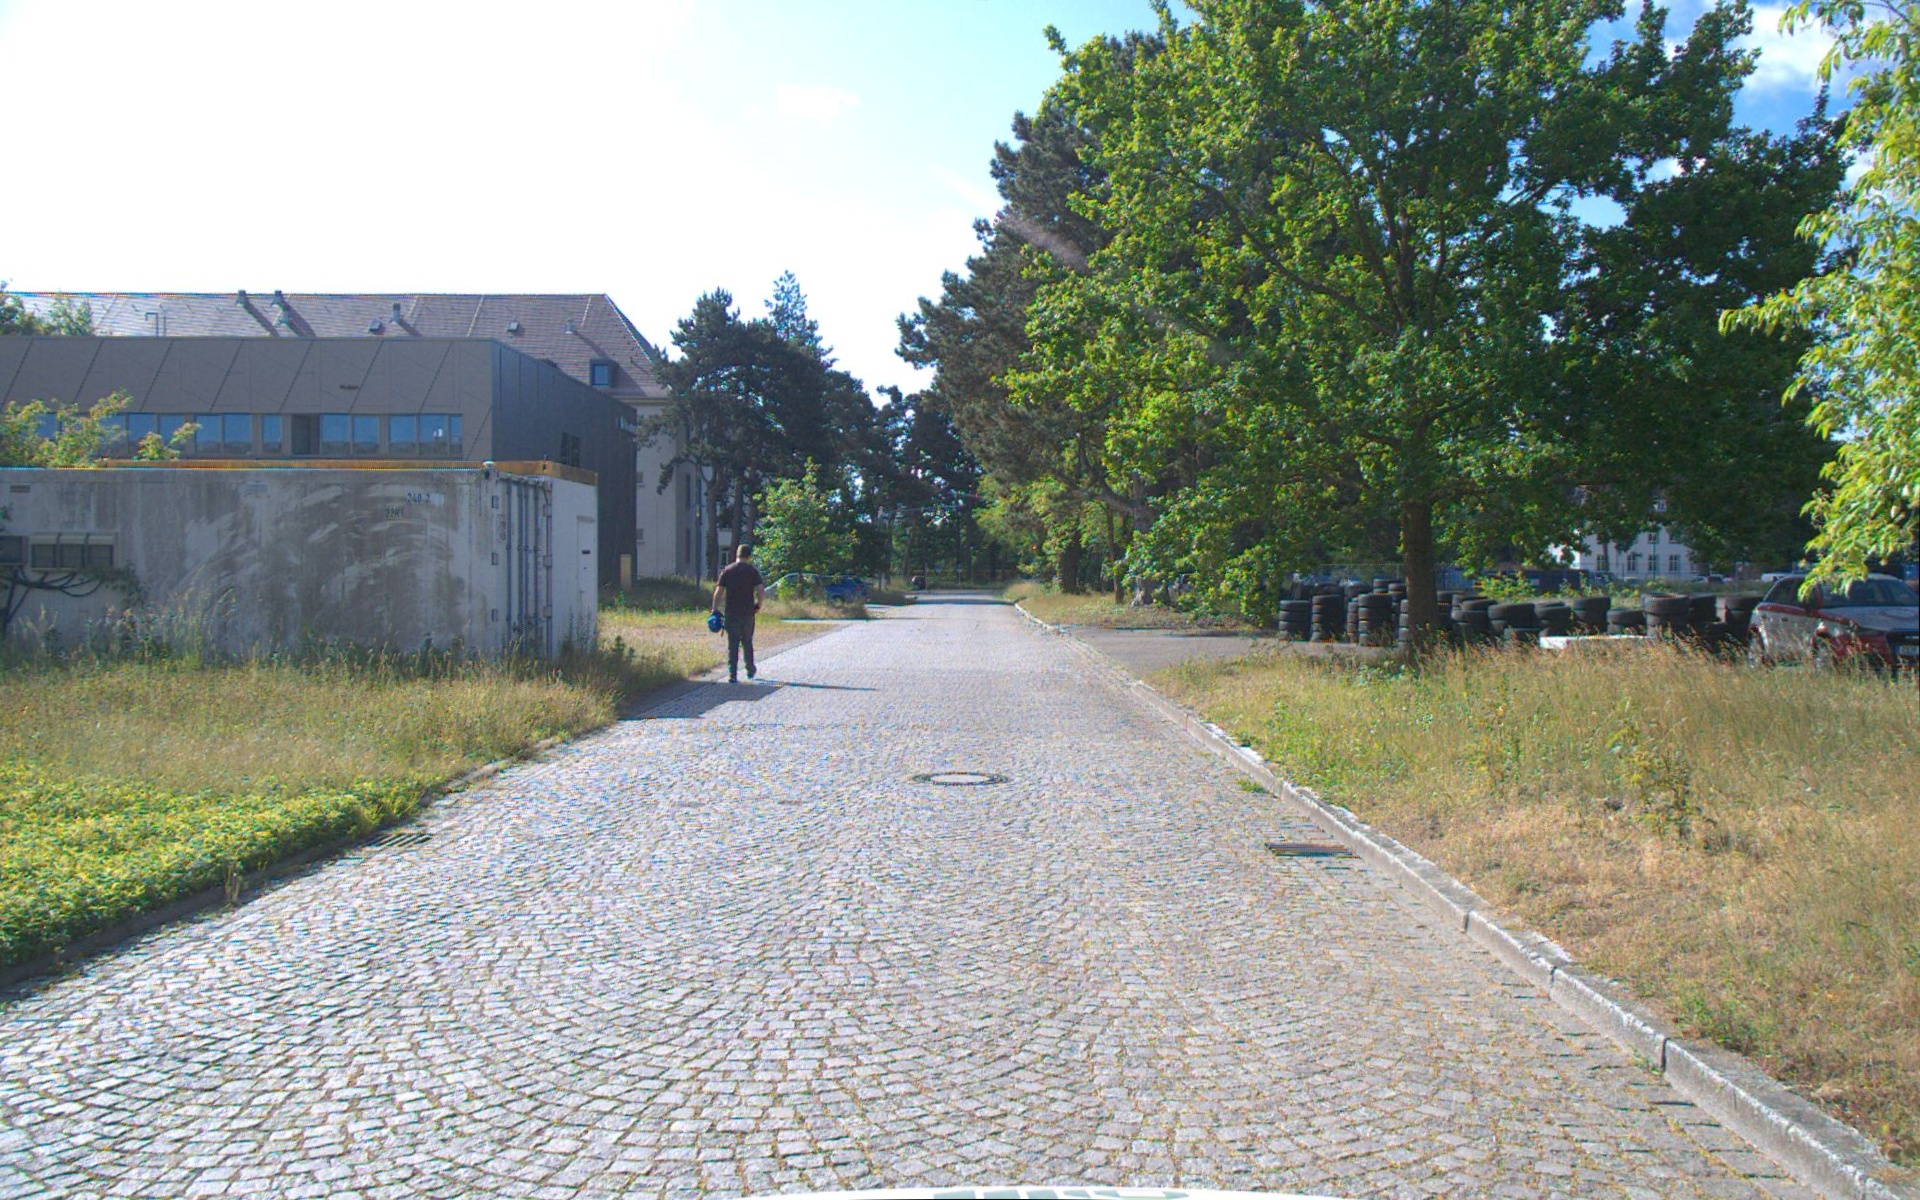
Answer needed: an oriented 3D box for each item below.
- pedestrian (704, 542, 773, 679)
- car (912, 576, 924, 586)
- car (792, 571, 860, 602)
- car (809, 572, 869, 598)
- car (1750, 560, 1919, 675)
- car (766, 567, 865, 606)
[{"bbox_3d":[-3.010,0.133,22.555,0.779,1.812,1.068,1,1,-1],"label":"pedestrian"},{"bbox_3d":[-4.771,-2.170,186.762,1.342,1.118,2.862,0,1,-2],"label":"car"},{"bbox_3d":[-5.797,-0.593,71.365,2.848,1.281,1.285,0,1,-9],"label":"car"},{"bbox_3d":[-5.923,-0.757,80.787,2.800,1.227,1.371,0,1,-9],"label":"car"},{"bbox_3d":[12.166,0.192,22.433,1.508,1.431,3.580,0,1,6],"label":"car"},{"bbox_3d":[-5.584,-0.527,64.135,3.756,1.466,1.582,0,1,-2],"label":"car"}]
